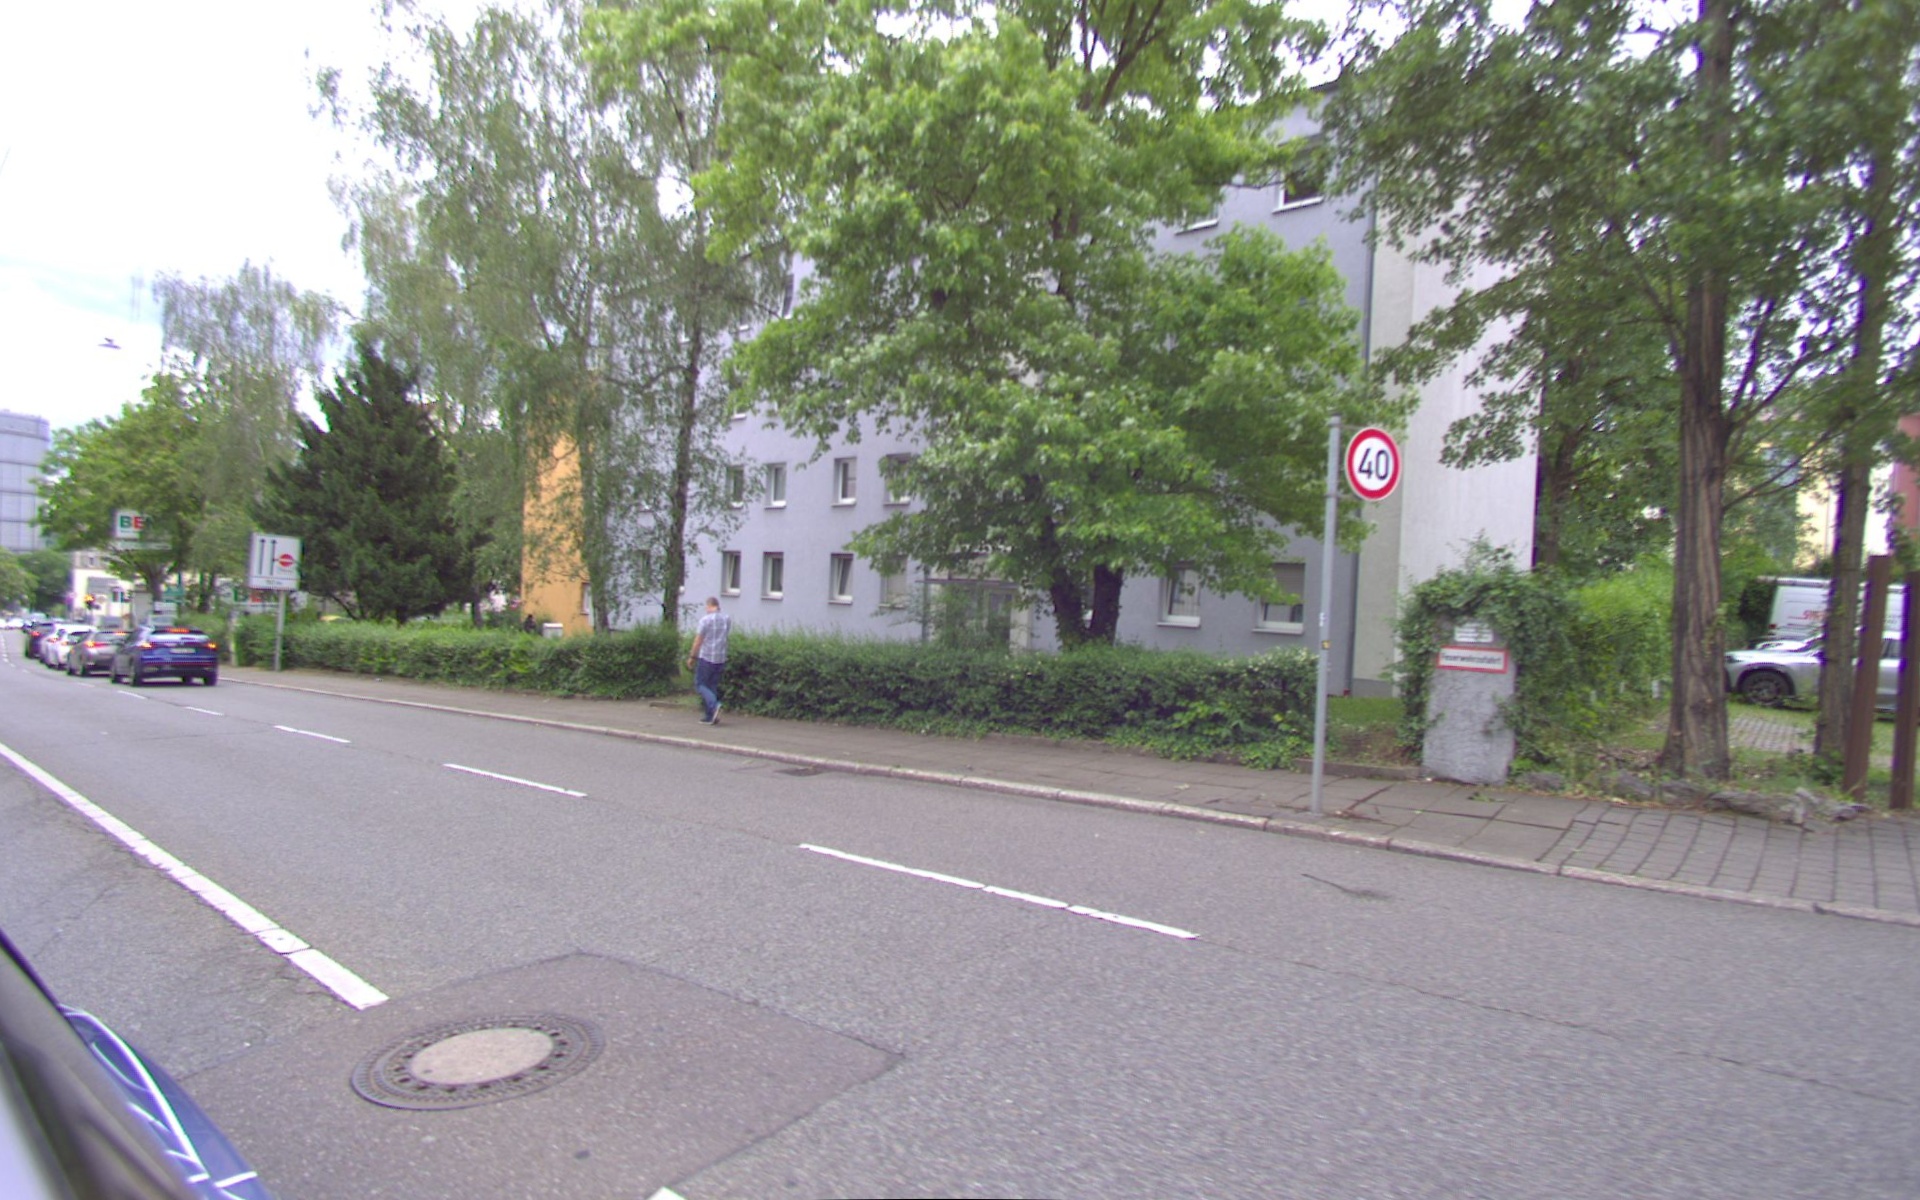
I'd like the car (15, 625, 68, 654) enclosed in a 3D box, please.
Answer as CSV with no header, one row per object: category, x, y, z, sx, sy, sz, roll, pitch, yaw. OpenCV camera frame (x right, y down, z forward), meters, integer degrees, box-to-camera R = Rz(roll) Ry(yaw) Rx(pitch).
car,-45.517,1.945,50.130,1.780,1.291,4.240,5,-4,-43

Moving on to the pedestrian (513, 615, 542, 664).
pedestrian,-16.074,1.465,37.609,0.714,1.768,0.794,1,-6,-44

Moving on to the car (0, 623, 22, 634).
car,-144.565,4.361,154.204,1.967,1.612,4.009,-1,-1,-36

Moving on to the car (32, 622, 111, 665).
car,-35.593,1.721,40.501,4.499,1.606,1.929,-1,-4,44

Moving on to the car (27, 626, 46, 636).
car,-159.911,5.313,175.233,1.967,1.612,4.009,-1,-1,-36

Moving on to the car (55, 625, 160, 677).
car,-26.258,1.539,31.132,4.309,1.459,1.819,-1,-3,42

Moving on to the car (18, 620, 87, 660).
car,-40.773,1.775,45.441,4.415,1.655,1.929,-1,-5,44

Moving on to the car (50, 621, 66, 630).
car,-173.300,4.872,194.470,1.967,1.612,4.009,-1,-1,-36

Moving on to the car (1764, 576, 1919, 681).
car,28.544,0.877,31.110,5.788,2.900,2.386,5,4,40

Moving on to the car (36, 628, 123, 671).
car,-31.273,1.747,35.916,4.073,1.423,1.819,-1,-4,43

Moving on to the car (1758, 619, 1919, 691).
car,24.158,1.459,27.306,3.983,1.527,1.813,5,4,41

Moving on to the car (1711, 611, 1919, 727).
car,16.698,1.260,18.674,4.418,1.740,1.974,5,4,39

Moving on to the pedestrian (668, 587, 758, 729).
pedestrian,-3.590,0.813,14.723,0.867,1.964,0.873,-2,0,41

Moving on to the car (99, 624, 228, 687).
car,-20.489,1.383,25.970,4.309,1.459,1.819,-1,-3,42

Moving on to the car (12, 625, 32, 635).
car,-154.293,4.957,166.435,1.967,1.612,4.009,-1,-1,-36
